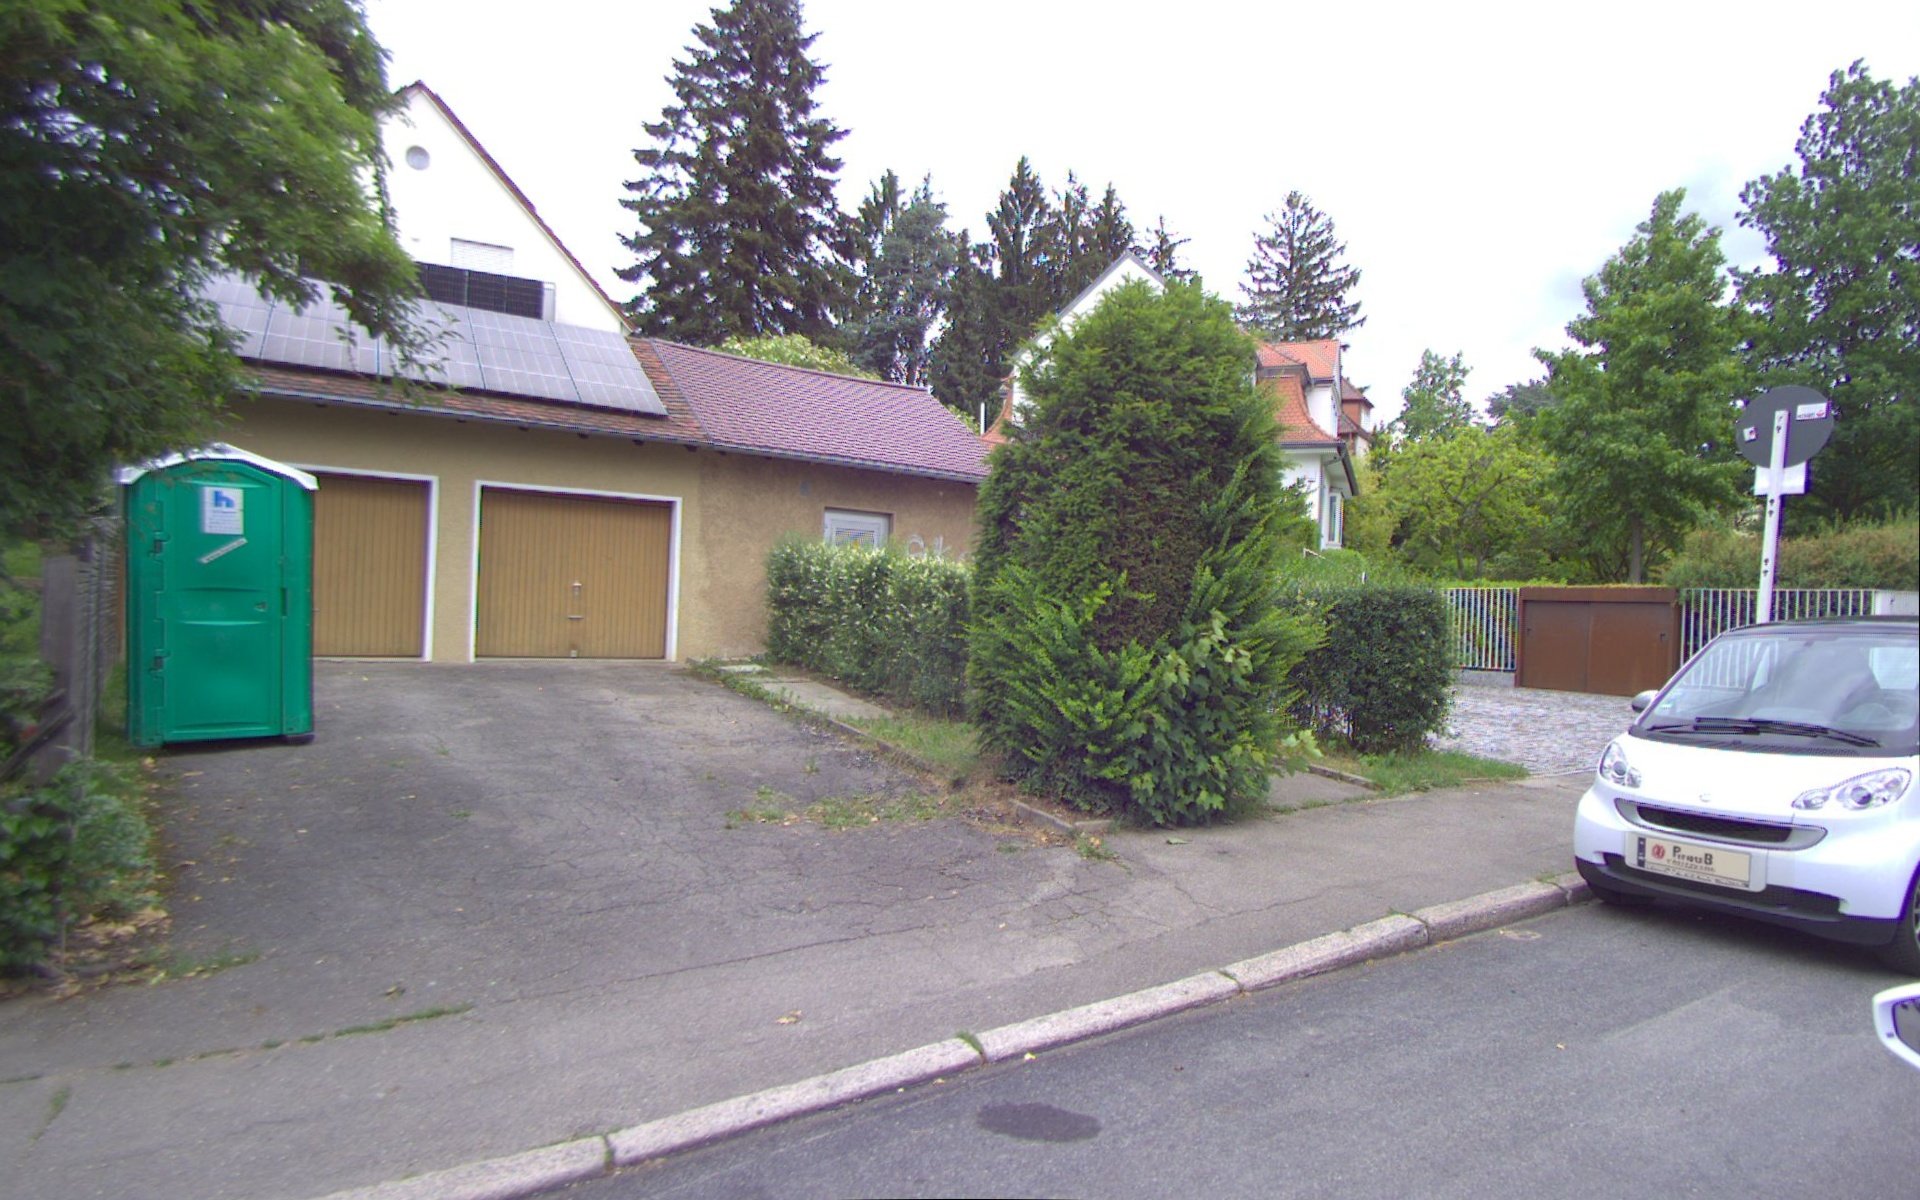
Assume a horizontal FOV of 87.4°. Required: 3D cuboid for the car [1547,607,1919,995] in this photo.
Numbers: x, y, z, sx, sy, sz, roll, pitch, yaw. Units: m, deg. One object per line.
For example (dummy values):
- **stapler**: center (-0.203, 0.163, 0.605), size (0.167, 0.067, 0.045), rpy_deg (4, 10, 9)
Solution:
- **car**: center (4.706, 0.853, 5.323), size (2.731, 1.572, 1.439), rpy_deg (0, -2, -25)
